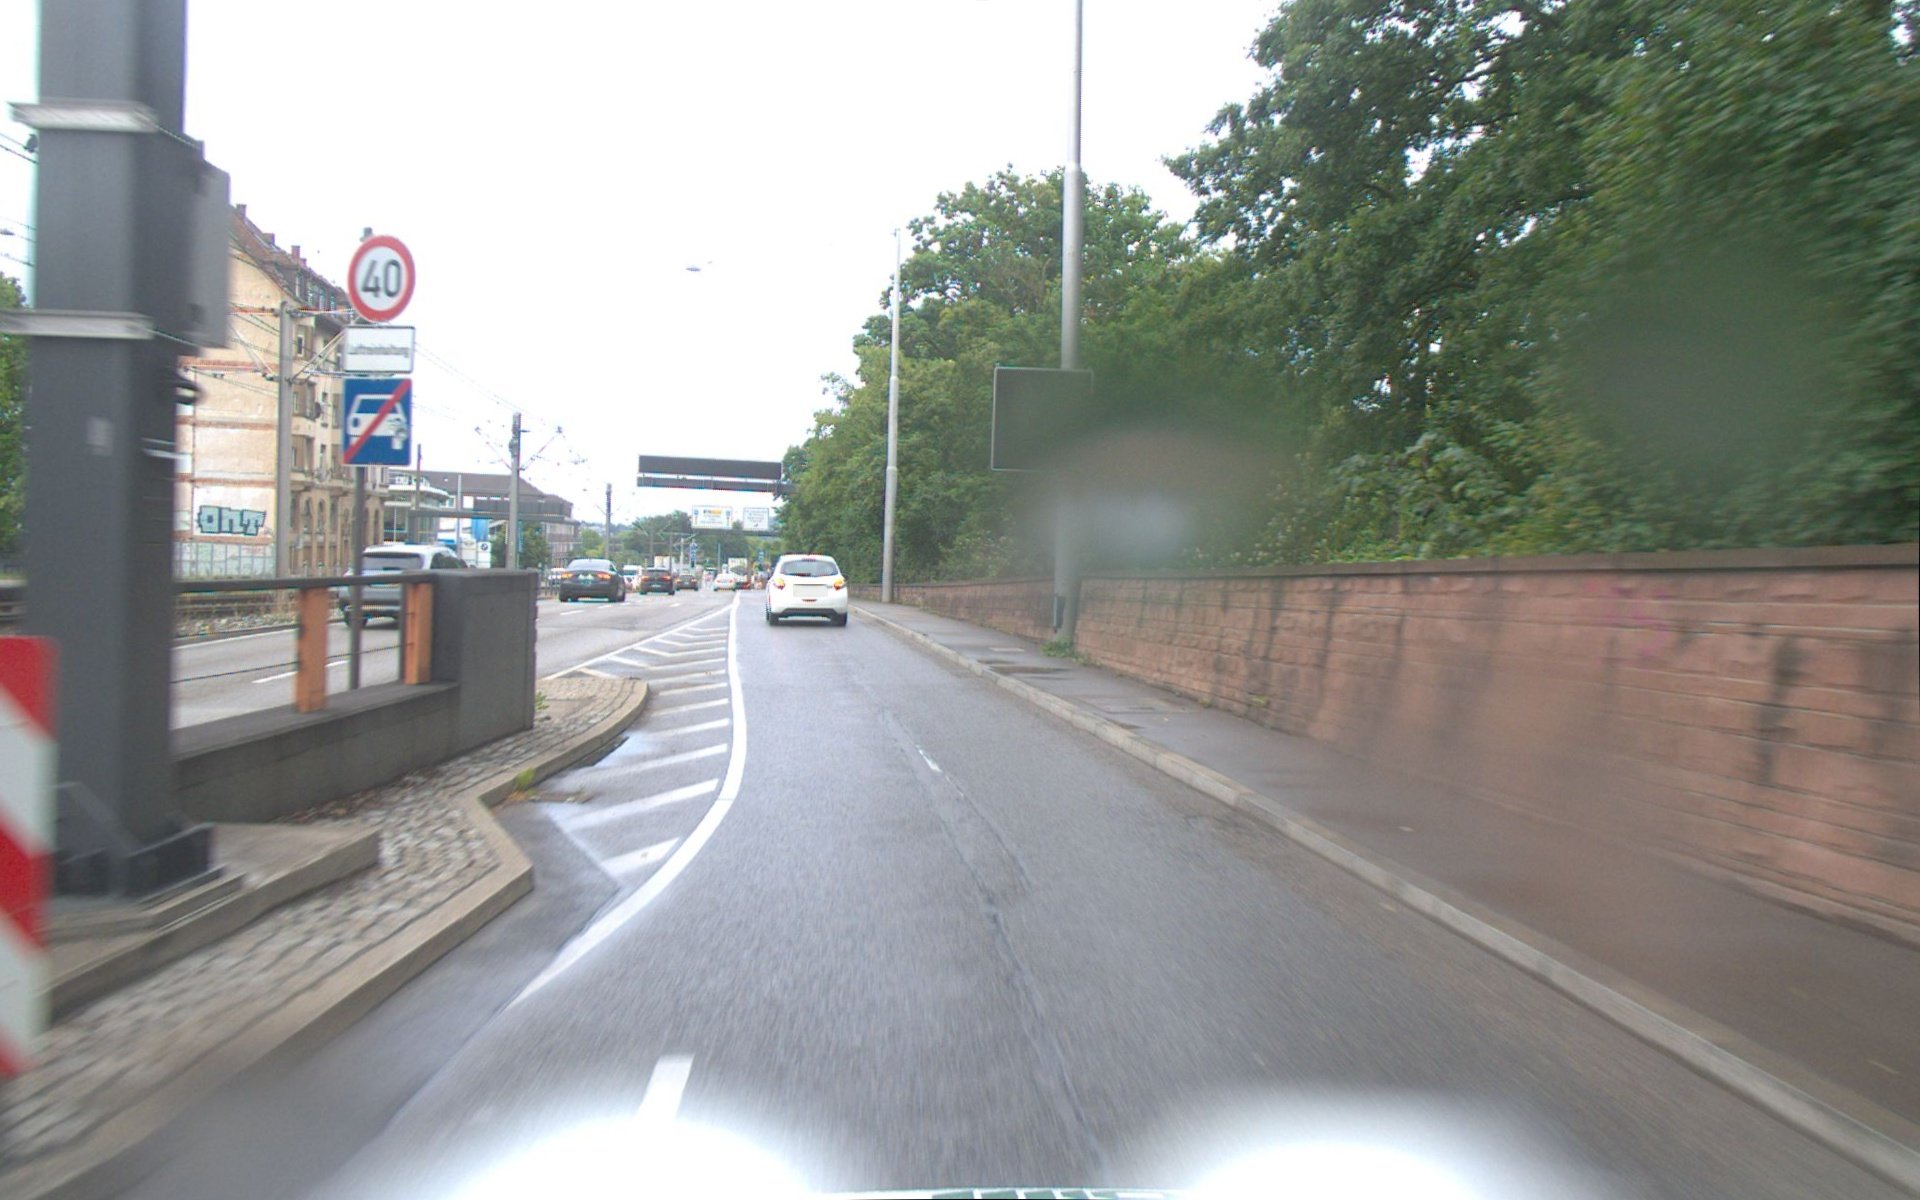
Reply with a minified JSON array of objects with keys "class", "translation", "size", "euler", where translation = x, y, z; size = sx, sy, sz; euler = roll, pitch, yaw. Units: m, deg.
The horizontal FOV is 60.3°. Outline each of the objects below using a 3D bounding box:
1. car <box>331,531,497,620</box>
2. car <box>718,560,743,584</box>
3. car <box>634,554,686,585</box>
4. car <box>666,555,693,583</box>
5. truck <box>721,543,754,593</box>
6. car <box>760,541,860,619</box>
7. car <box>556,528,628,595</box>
[{"class":"car","translation":[-10.289,-0.466,31.486],"size":[1.783,1.593,4.092],"euler":[0,1,0]},{"class":"car","translation":[-19.775,-2.395,142.609],"size":[2.042,1.905,4.089],"euler":[1,0,-7]},{"class":"car","translation":[-16.217,-1.655,89.609],"size":[1.952,1.603,4.001],"euler":[1,1,1]},{"class":"car","translation":[-23.504,-2.580,138.721],"size":[1.956,2.049,3.992],"euler":[3,-3,-8]},{"class":"truck","translation":[-28.047,-3.954,208.721],"size":[3.398,5.496,12.034],"euler":[3,-3,-6]},{"class":"car","translation":[-3.350,-0.413,36.298],"size":[1.919,1.514,3.993],"euler":[3,0,-8]},{"class":"car","translation":[-11.821,-1.273,53.287],"size":[1.687,1.923,3.534],"euler":[2,4,-4]}]
